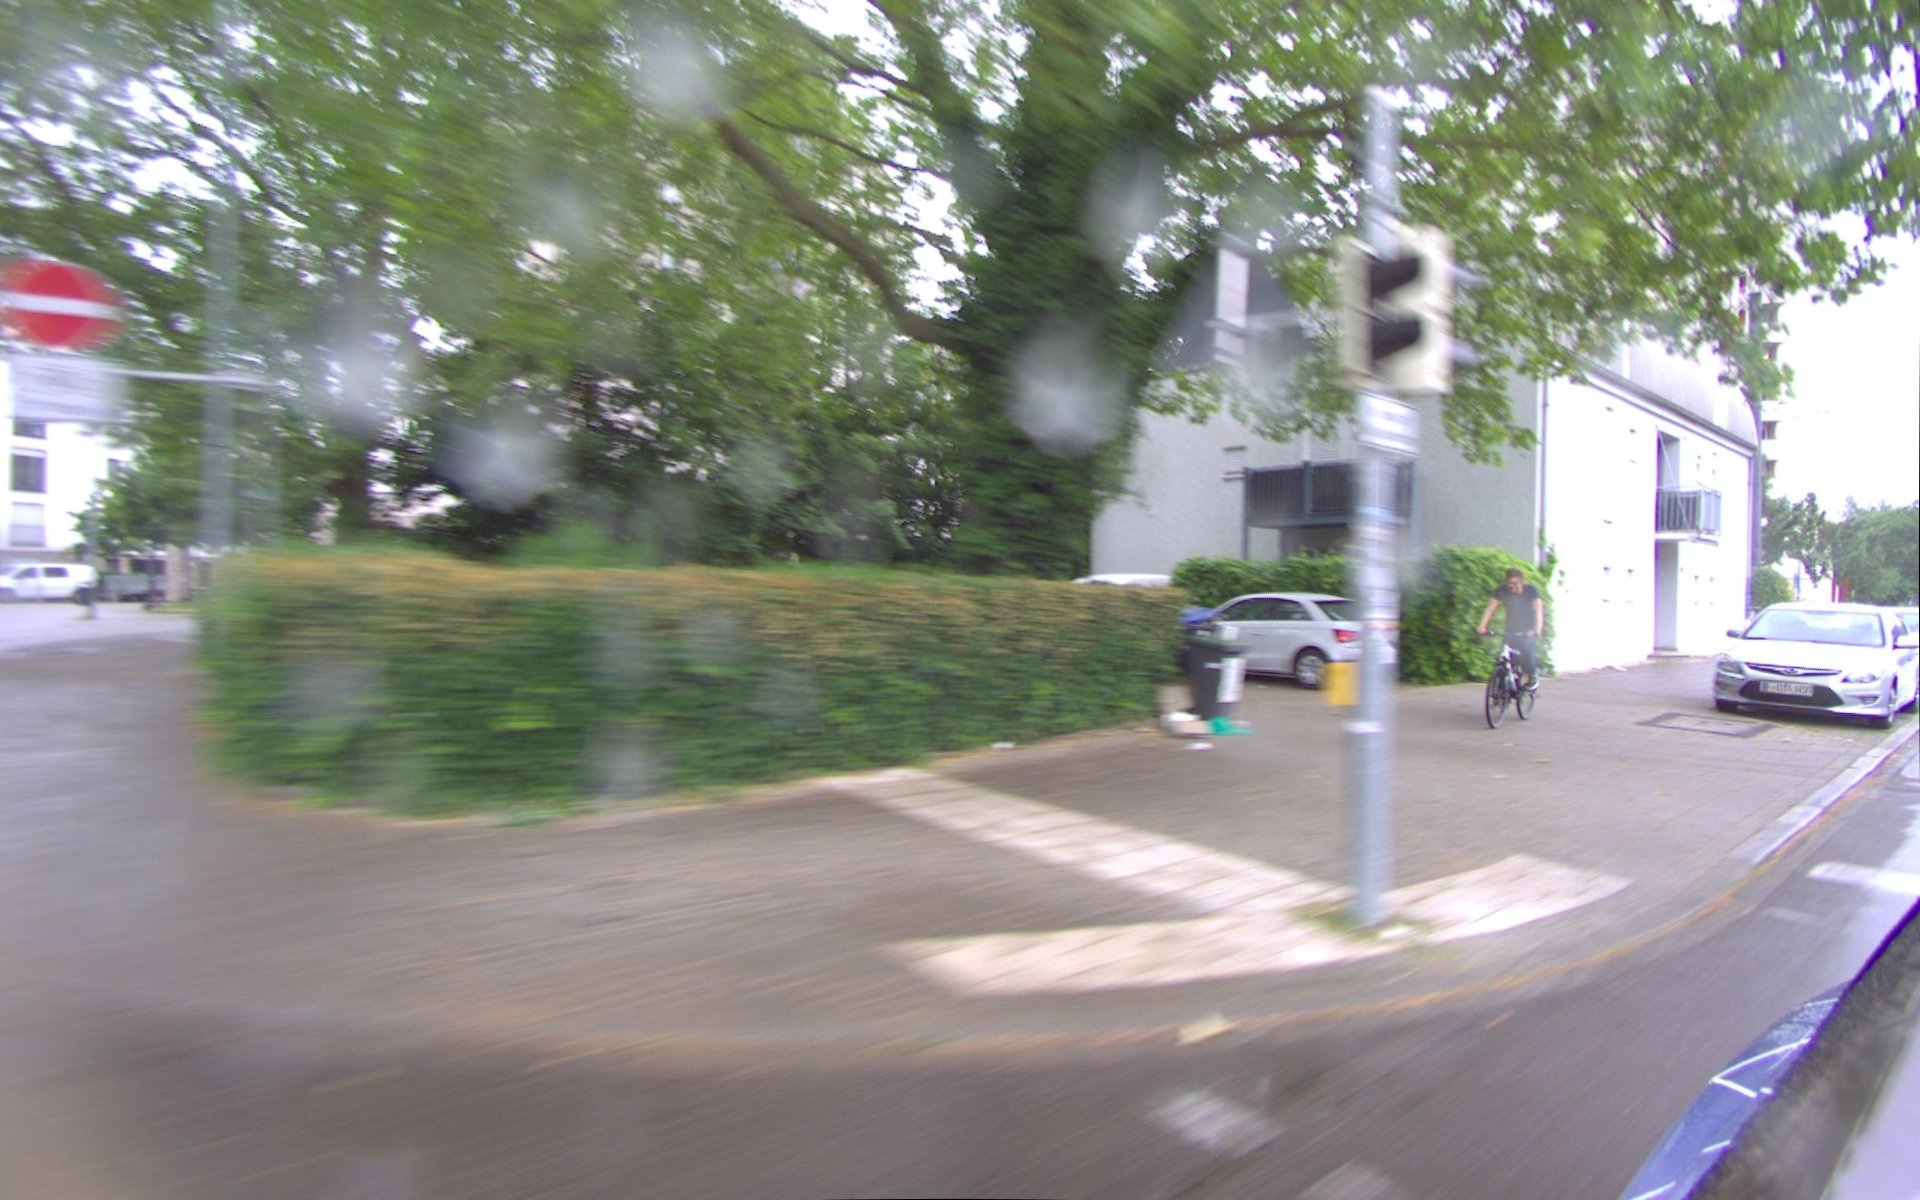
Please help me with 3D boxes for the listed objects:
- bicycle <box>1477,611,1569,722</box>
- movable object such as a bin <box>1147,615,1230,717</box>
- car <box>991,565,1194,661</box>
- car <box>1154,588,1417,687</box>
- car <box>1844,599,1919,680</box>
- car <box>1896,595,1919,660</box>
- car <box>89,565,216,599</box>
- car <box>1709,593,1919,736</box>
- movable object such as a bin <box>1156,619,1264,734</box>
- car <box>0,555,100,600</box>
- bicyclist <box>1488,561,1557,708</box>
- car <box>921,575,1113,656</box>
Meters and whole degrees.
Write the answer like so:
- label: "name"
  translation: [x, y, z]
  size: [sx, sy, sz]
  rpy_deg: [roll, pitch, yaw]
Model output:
- label: "bicycle"
  translation: [6.358, 0.698, 11.380]
  size: [0.535, 1.107, 1.920]
  rpy_deg: [0, 0, 41]
- label: "movable object such as a bin"
  translation: [2.509, 0.703, 11.088]
  size: [0.726, 1.034, 0.537]
  rpy_deg: [0, 3, -42]
- label: "car"
  translation: [2.861, 0.222, 21.366]
  size: [4.175, 1.816, 1.997]
  rpy_deg: [-1, 0, -41]
- label: "car"
  translation: [5.123, 0.513, 16.293]
  size: [1.729, 1.395, 3.704]
  rpy_deg: [-1, 0, -39]
- label: "car"
  translation: [19.535, 0.784, 20.595]
  size: [3.728, 1.422, 1.811]
  rpy_deg: [-1, 4, -42]
- label: "car"
  translation: [23.851, 0.662, 24.205]
  size: [4.569, 1.422, 1.654]
  rpy_deg: [-1, 4, -42]
- label: "car"
  translation: [-43.988, -0.951, 55.324]
  size: [2.224, 1.724, 5.112]
  rpy_deg: [0, 0, 16]
- label: "car"
  translation: [11.531, 0.719, 13.379]
  size: [3.728, 1.485, 1.811]
  rpy_deg: [-1, 4, -42]
- label: "movable object such as a bin"
  translation: [2.509, 0.740, 10.160]
  size: [0.810, 1.034, 0.693]
  rpy_deg: [0, 3, -42]
- label: "car"
  translation: [-45.008, -1.053, 48.754]
  size: [2.224, 2.039, 5.112]
  rpy_deg: [0, 0, 16]
- label: "bicyclist"
  translation: [6.304, 0.370, 11.336]
  size: [0.533, 1.579, 0.761]
  rpy_deg: [-1, 0, 40]
- label: "car"
  translation: [1.350, 0.290, 23.061]
  size: [4.175, 1.675, 1.997]
  rpy_deg: [-1, 0, -41]
